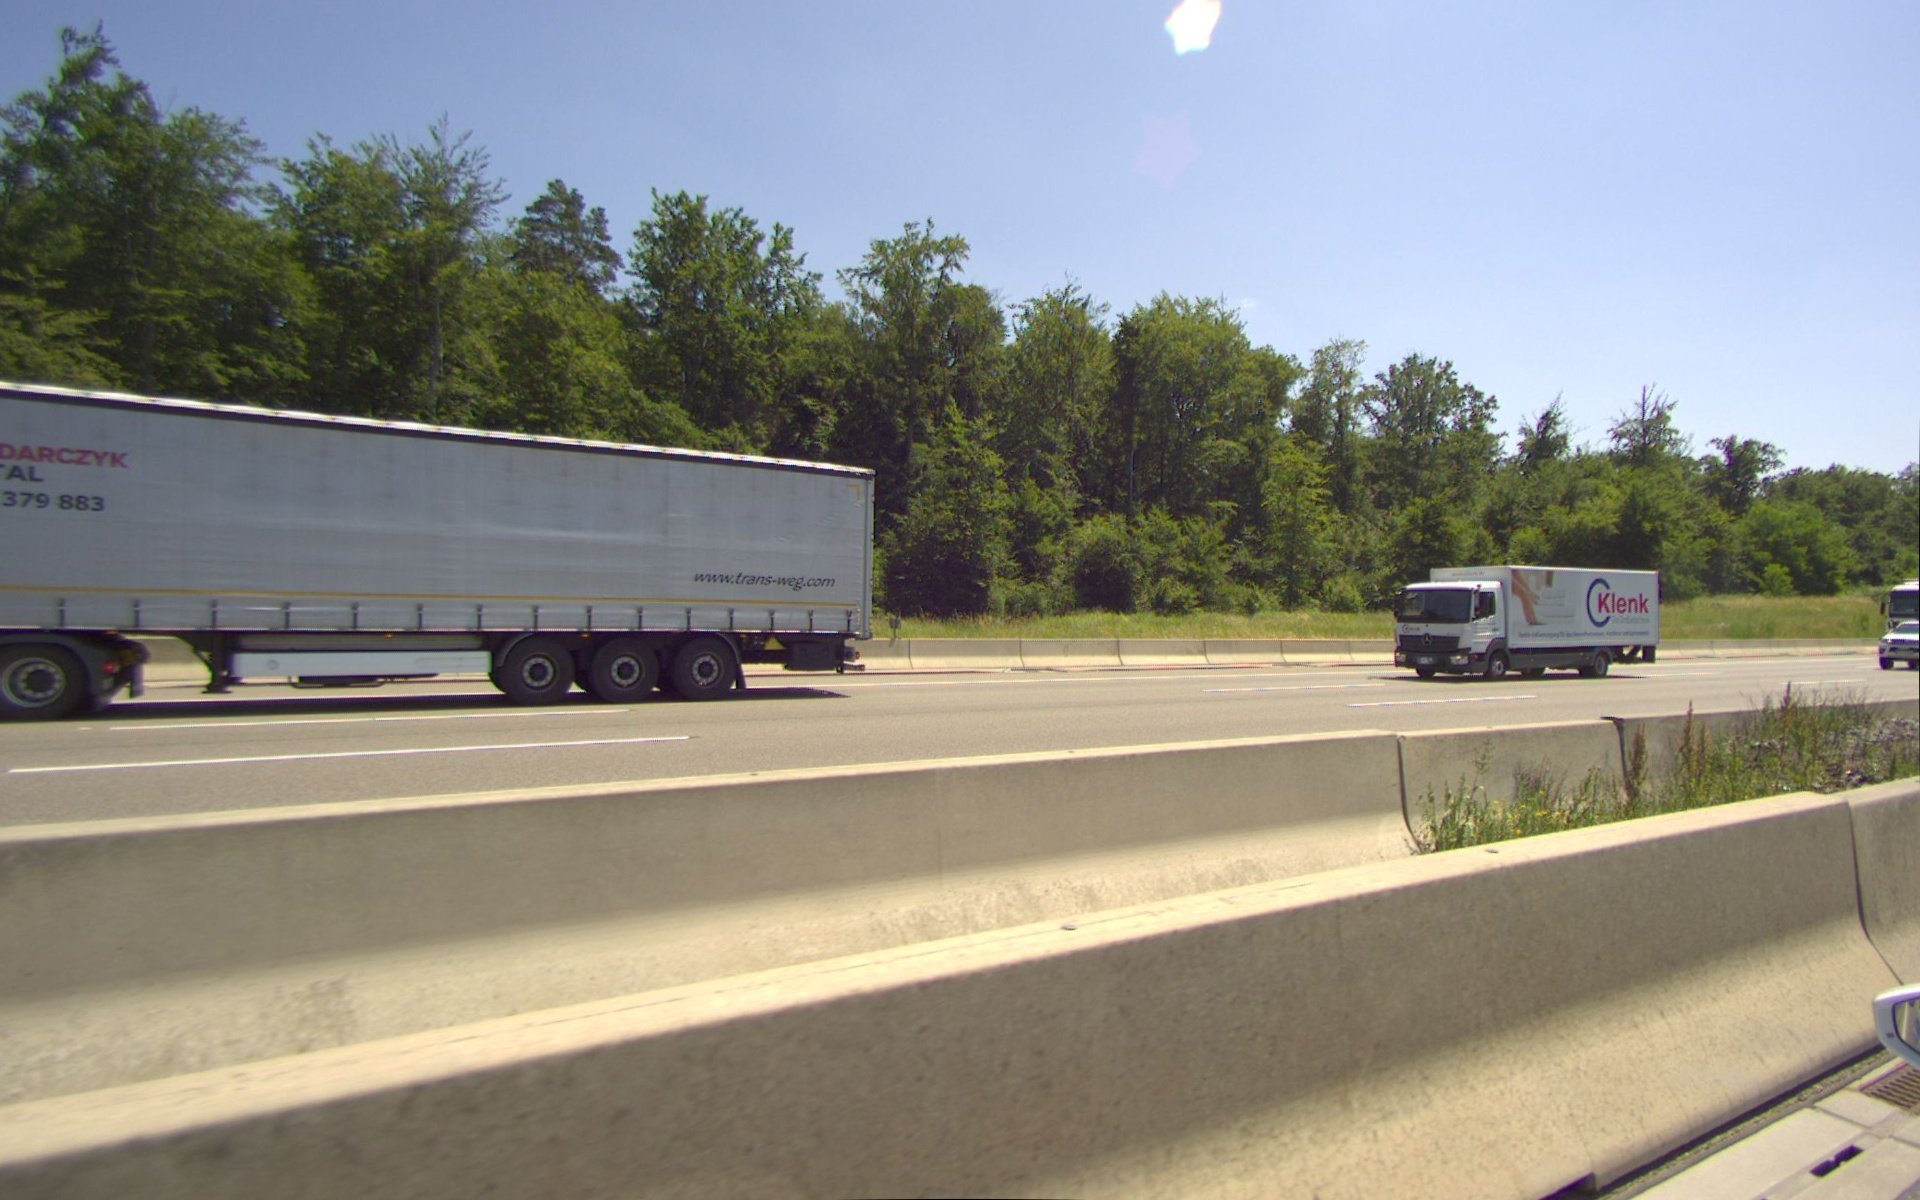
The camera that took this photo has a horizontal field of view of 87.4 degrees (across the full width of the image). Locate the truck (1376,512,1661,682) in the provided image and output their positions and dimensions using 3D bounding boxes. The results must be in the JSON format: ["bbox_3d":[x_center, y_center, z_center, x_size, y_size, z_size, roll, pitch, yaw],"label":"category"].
[{"bbox_3d":[16.038,0.049,28.521,9.505,4.233,2.519,2,-1,-30],"label":"truck"}]

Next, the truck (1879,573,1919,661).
[{"bbox_3d":[50.662,0.912,52.346,6.534,4.409,2.487,1,0,-33],"label":"truck"}]

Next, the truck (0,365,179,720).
[{"bbox_3d":[-13.697,-0.733,12.246,6.158,4.233,2.669,2,0,-30],"label":"truck"}]

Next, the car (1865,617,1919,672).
[{"bbox_3d":[37.070,1.685,38.512,5.672,1.996,1.983,1,0,-31],"label":"car"}]

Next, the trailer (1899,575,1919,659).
[{"bbox_3d":[56.270,0.997,55.913,13.546,4.409,2.487,1,0,-33],"label":"trailer"}]

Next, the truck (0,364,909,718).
[{"bbox_3d":[-7.814,-0.575,15.762,14.339,4.233,2.744,2,-1,-31],"label":"truck"}]
